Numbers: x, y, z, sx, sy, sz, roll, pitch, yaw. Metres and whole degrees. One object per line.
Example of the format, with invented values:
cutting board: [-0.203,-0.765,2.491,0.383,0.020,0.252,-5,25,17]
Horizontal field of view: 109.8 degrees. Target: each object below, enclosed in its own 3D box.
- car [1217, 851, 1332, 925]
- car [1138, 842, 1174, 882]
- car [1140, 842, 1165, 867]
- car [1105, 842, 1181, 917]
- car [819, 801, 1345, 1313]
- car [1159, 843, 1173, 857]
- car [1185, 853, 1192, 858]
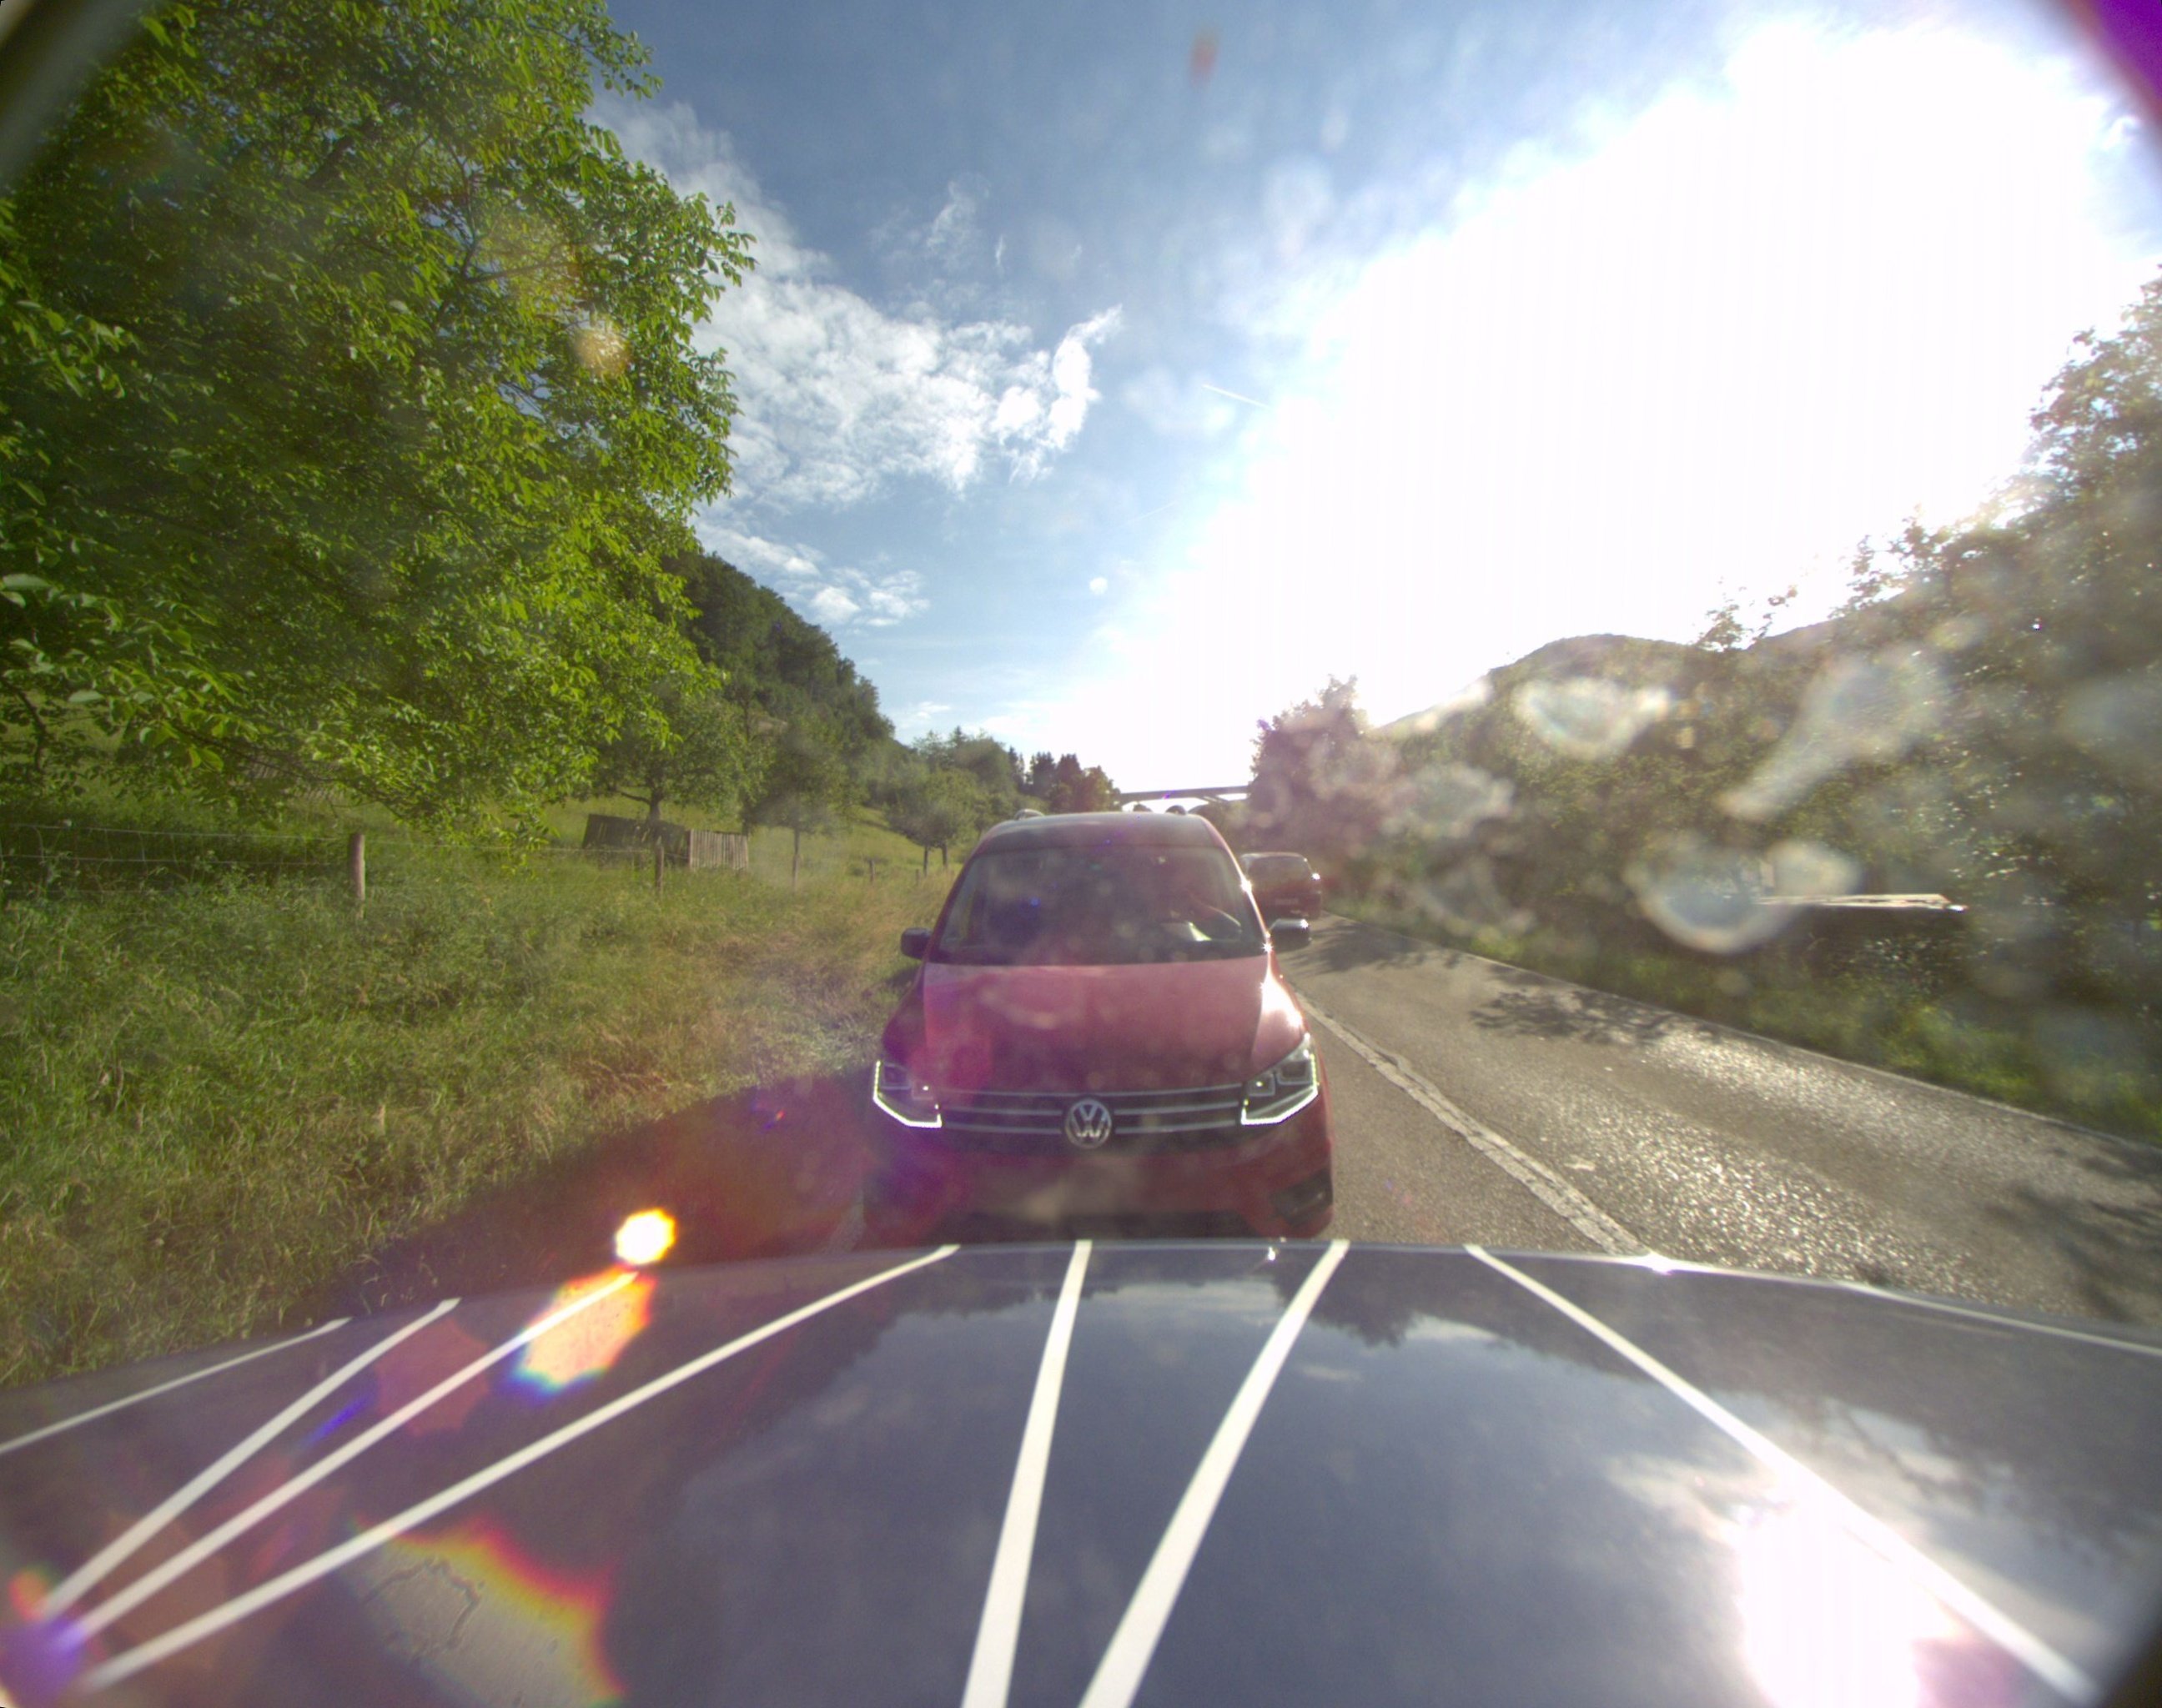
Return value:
car: [4.327,0.698,17.620,1.708,1.422,4.050,-2,1,2]
car: [3.928,0.374,39.998,1.758,1.926,4.001,-2,1,5]
car: [6.236,0.026,66.566,1.998,2.002,4.000,-2,1,4]
car: [1.648,0.592,20.243,1.758,1.745,4.001,-2,1,5]
car: [0.138,0.695,4.839,1.759,1.745,4.430,-2,1,4]
car: [12.271,-0.580,109.798,1.997,2.002,4.001,-2,1,6]
car: [28.456,0.346,201.892,1.597,1.346,4.204,-2,1,5]
